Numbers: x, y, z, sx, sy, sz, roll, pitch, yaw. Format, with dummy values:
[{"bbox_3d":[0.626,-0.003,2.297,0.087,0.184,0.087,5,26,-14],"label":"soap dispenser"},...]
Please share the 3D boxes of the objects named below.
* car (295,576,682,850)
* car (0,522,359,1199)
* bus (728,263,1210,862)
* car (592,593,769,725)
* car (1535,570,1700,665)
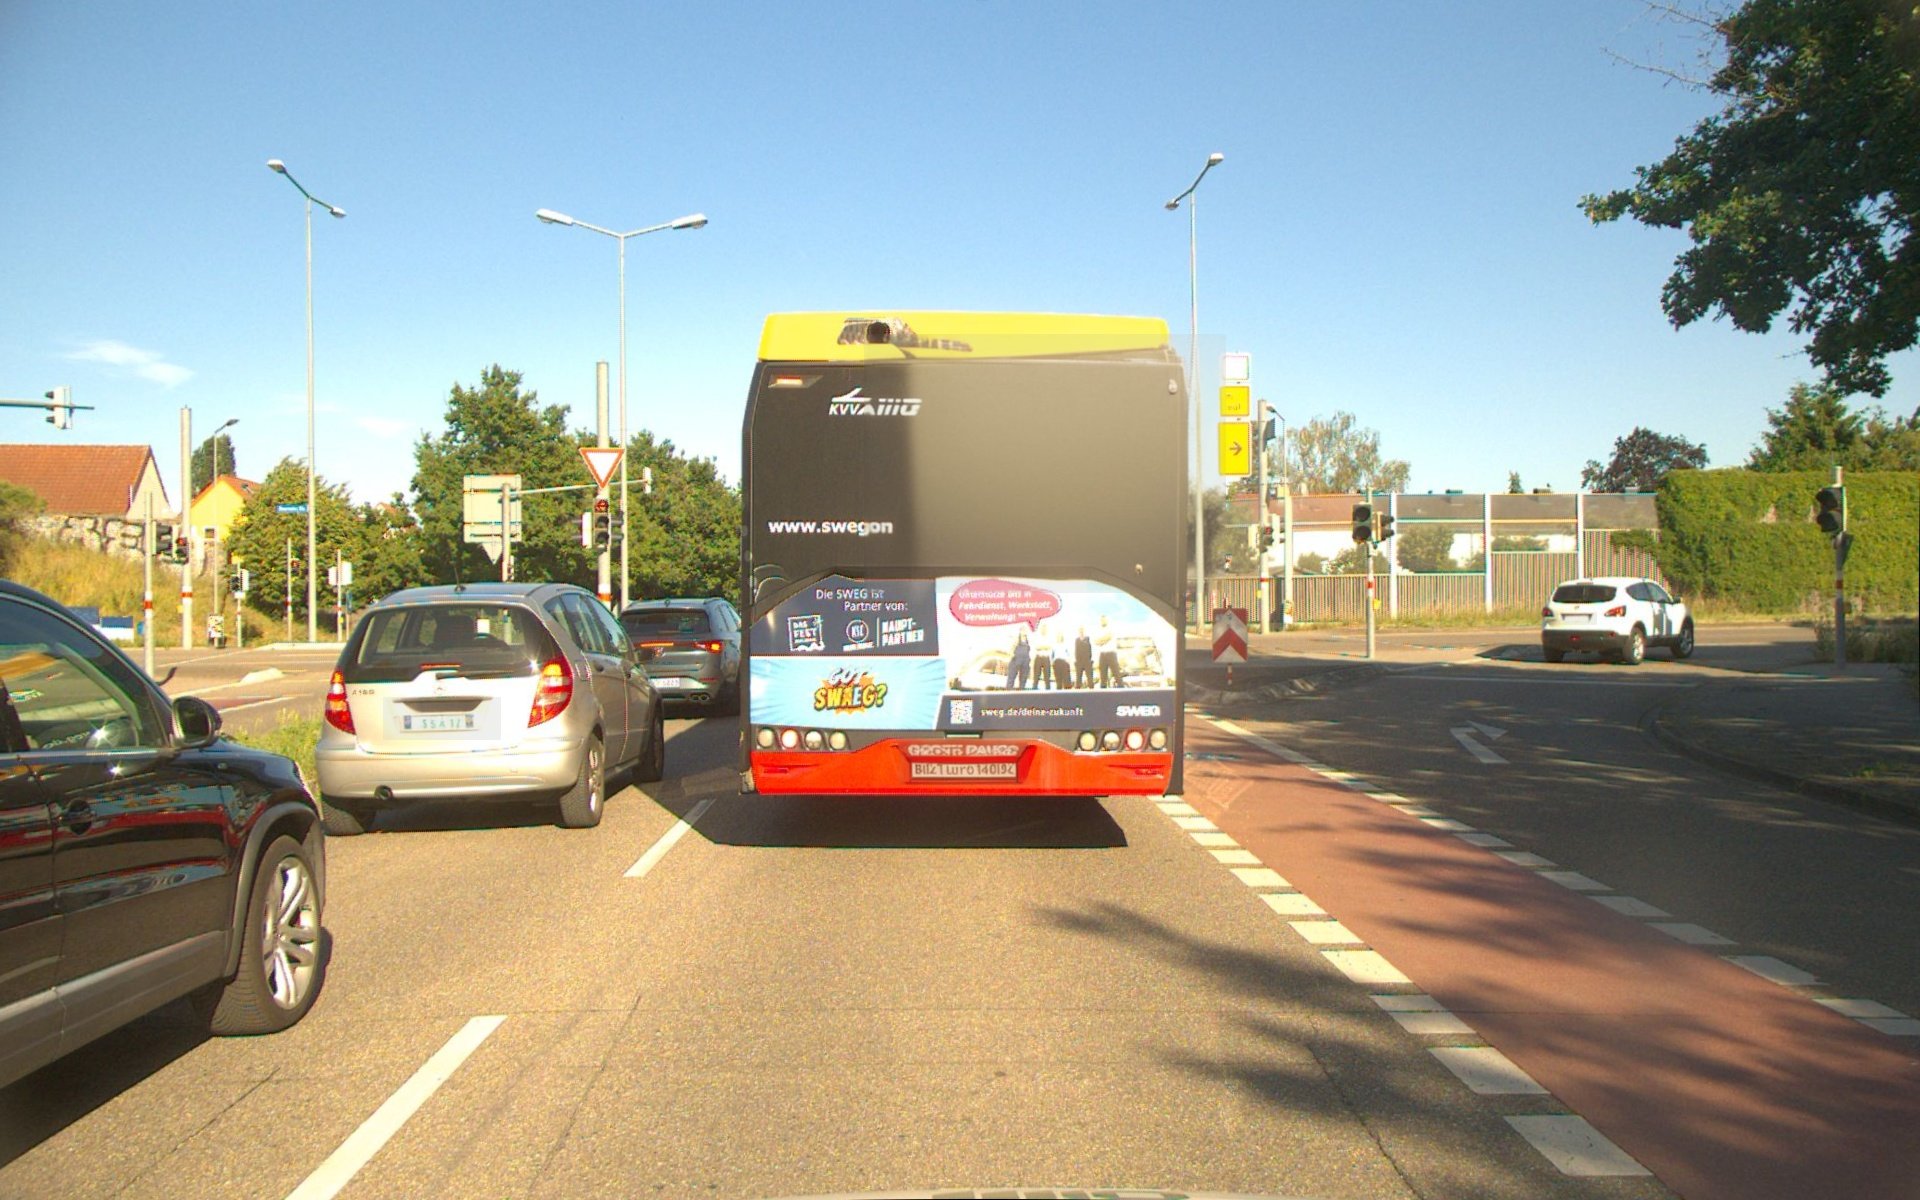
[{"bbox_3d":[-3.221,0.680,12.130,1.725,1.617,3.999,-2,0,-1],"label":"car"},{"bbox_3d":[-3.148,0.685,4.303,1.736,1.682,3.999,-2,0,-1],"label":"car"},{"bbox_3d":[0.017,-0.254,14.893,2.589,3.222,11.860,0,0,0],"label":"bus"},{"bbox_3d":[-3.454,0.675,21.058,1.658,1.484,3.750,-2,0,-1],"label":"car"},{"bbox_3d":[12.834,0.277,32.183,1.693,1.635,4.044,2,3,42],"label":"car"}]
